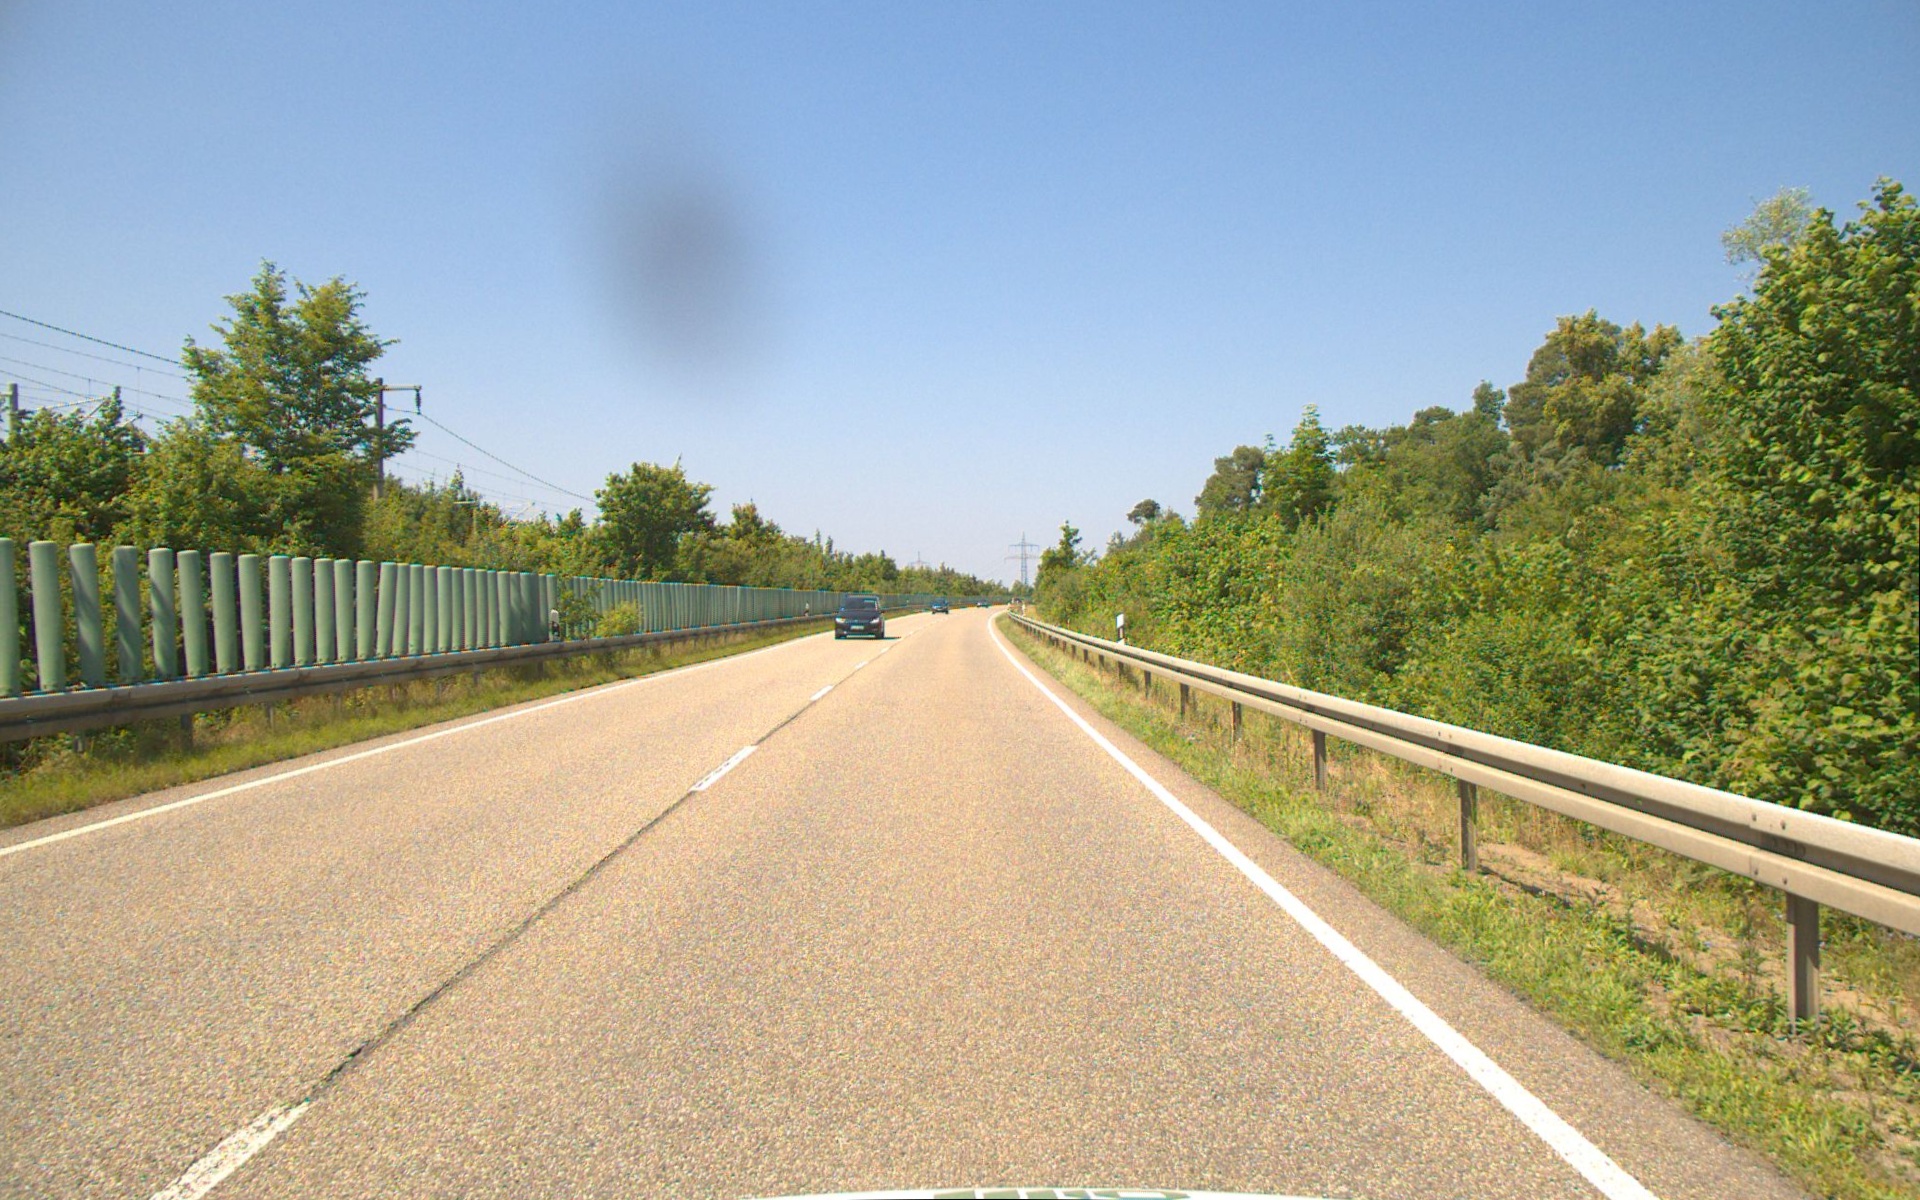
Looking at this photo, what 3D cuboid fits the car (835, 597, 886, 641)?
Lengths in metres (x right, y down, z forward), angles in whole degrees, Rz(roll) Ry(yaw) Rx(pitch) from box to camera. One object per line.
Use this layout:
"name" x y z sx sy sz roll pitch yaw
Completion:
"car" -3.855 0.724 64.599 1.728 1.669 4.126 0 0 0

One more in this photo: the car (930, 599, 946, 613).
"car" -2.237 0.606 169.239 1.615 1.505 3.676 0 0 -1
